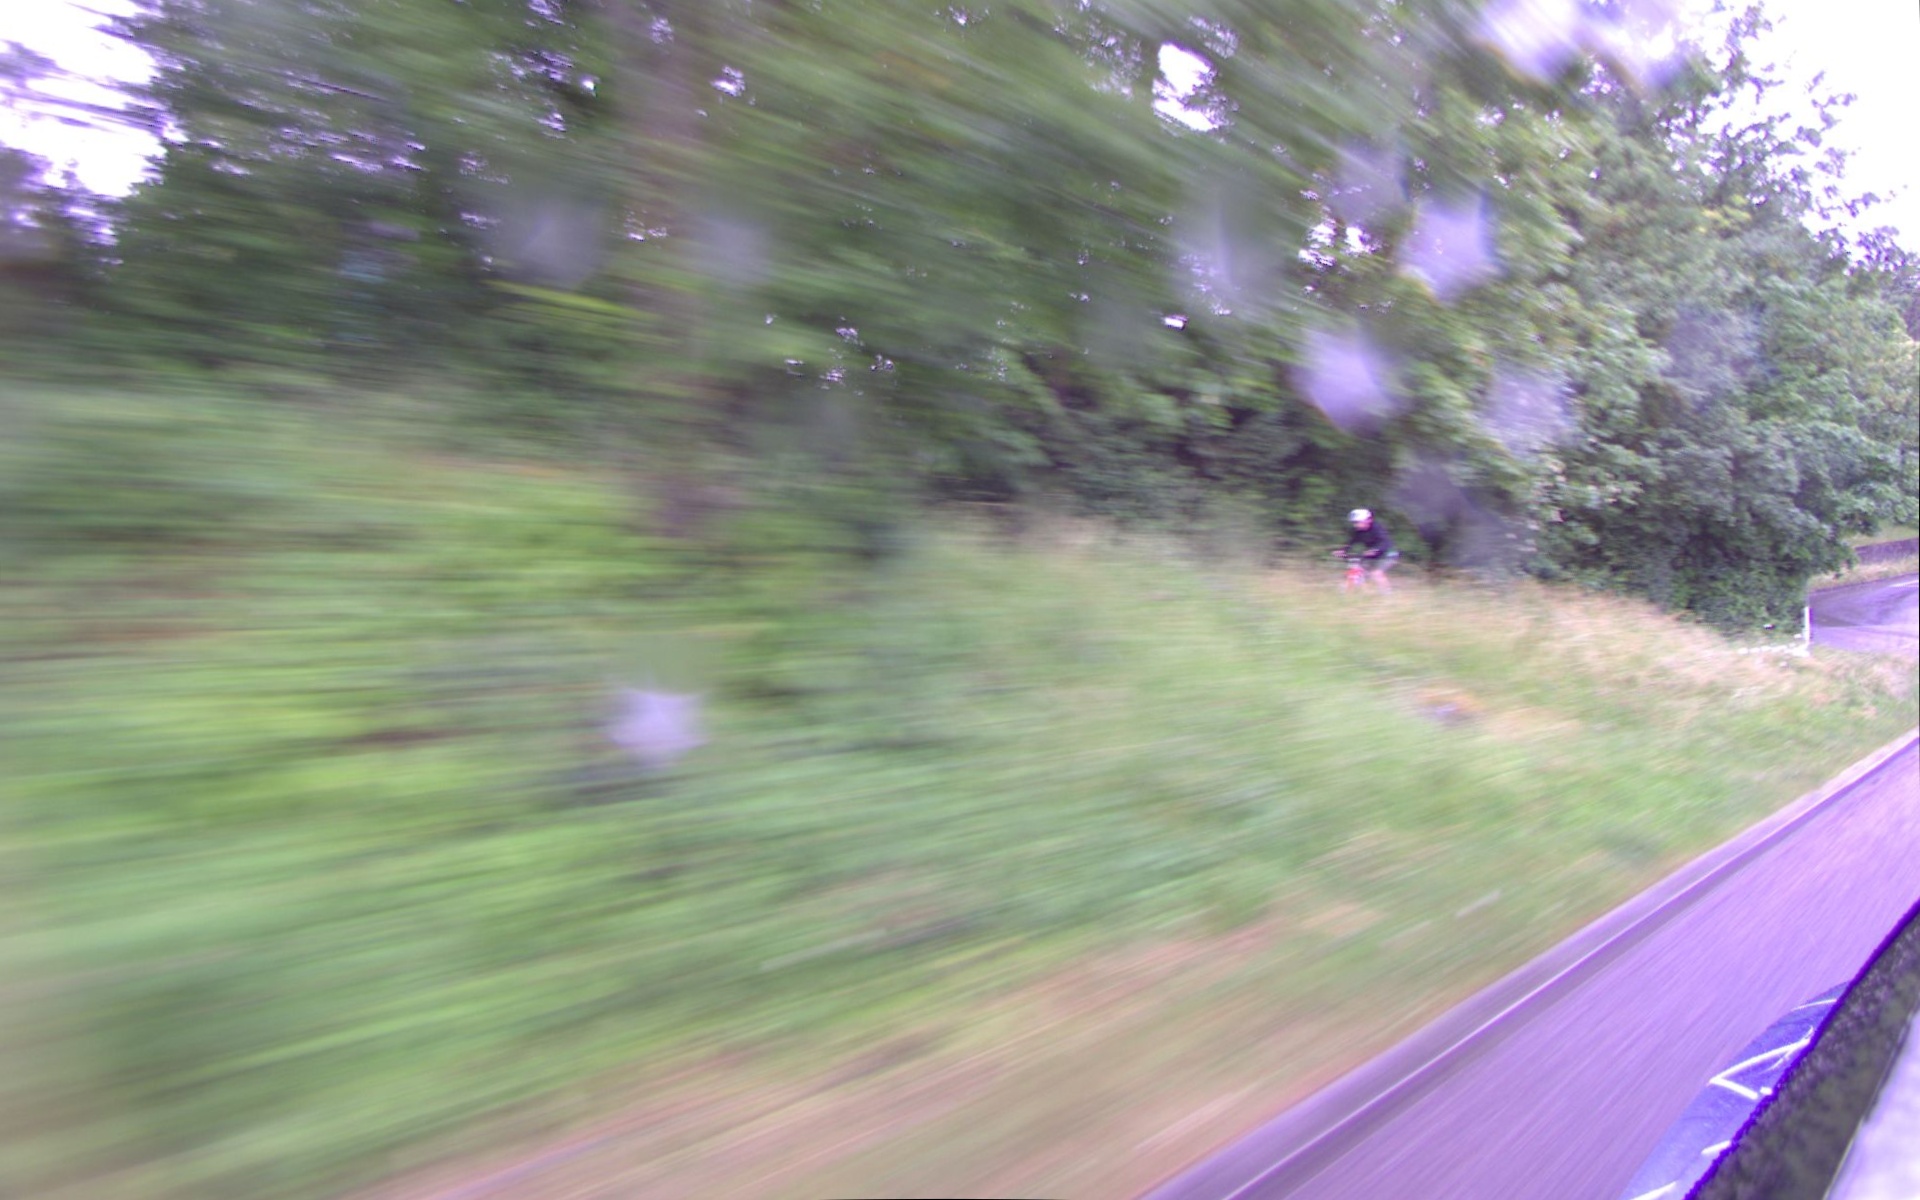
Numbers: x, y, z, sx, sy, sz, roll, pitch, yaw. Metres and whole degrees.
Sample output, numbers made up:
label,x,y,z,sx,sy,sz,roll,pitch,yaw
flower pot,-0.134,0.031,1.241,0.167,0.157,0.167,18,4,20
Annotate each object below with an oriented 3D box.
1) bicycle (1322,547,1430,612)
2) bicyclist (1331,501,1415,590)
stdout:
label,x,y,z,sx,sy,sz,roll,pitch,yaw
bicycle,6.000,-0.298,14.579,1.662,0.901,0.437,0,0,-26
bicyclist,5.949,-0.766,14.602,0.795,1.242,0.791,0,0,-26
